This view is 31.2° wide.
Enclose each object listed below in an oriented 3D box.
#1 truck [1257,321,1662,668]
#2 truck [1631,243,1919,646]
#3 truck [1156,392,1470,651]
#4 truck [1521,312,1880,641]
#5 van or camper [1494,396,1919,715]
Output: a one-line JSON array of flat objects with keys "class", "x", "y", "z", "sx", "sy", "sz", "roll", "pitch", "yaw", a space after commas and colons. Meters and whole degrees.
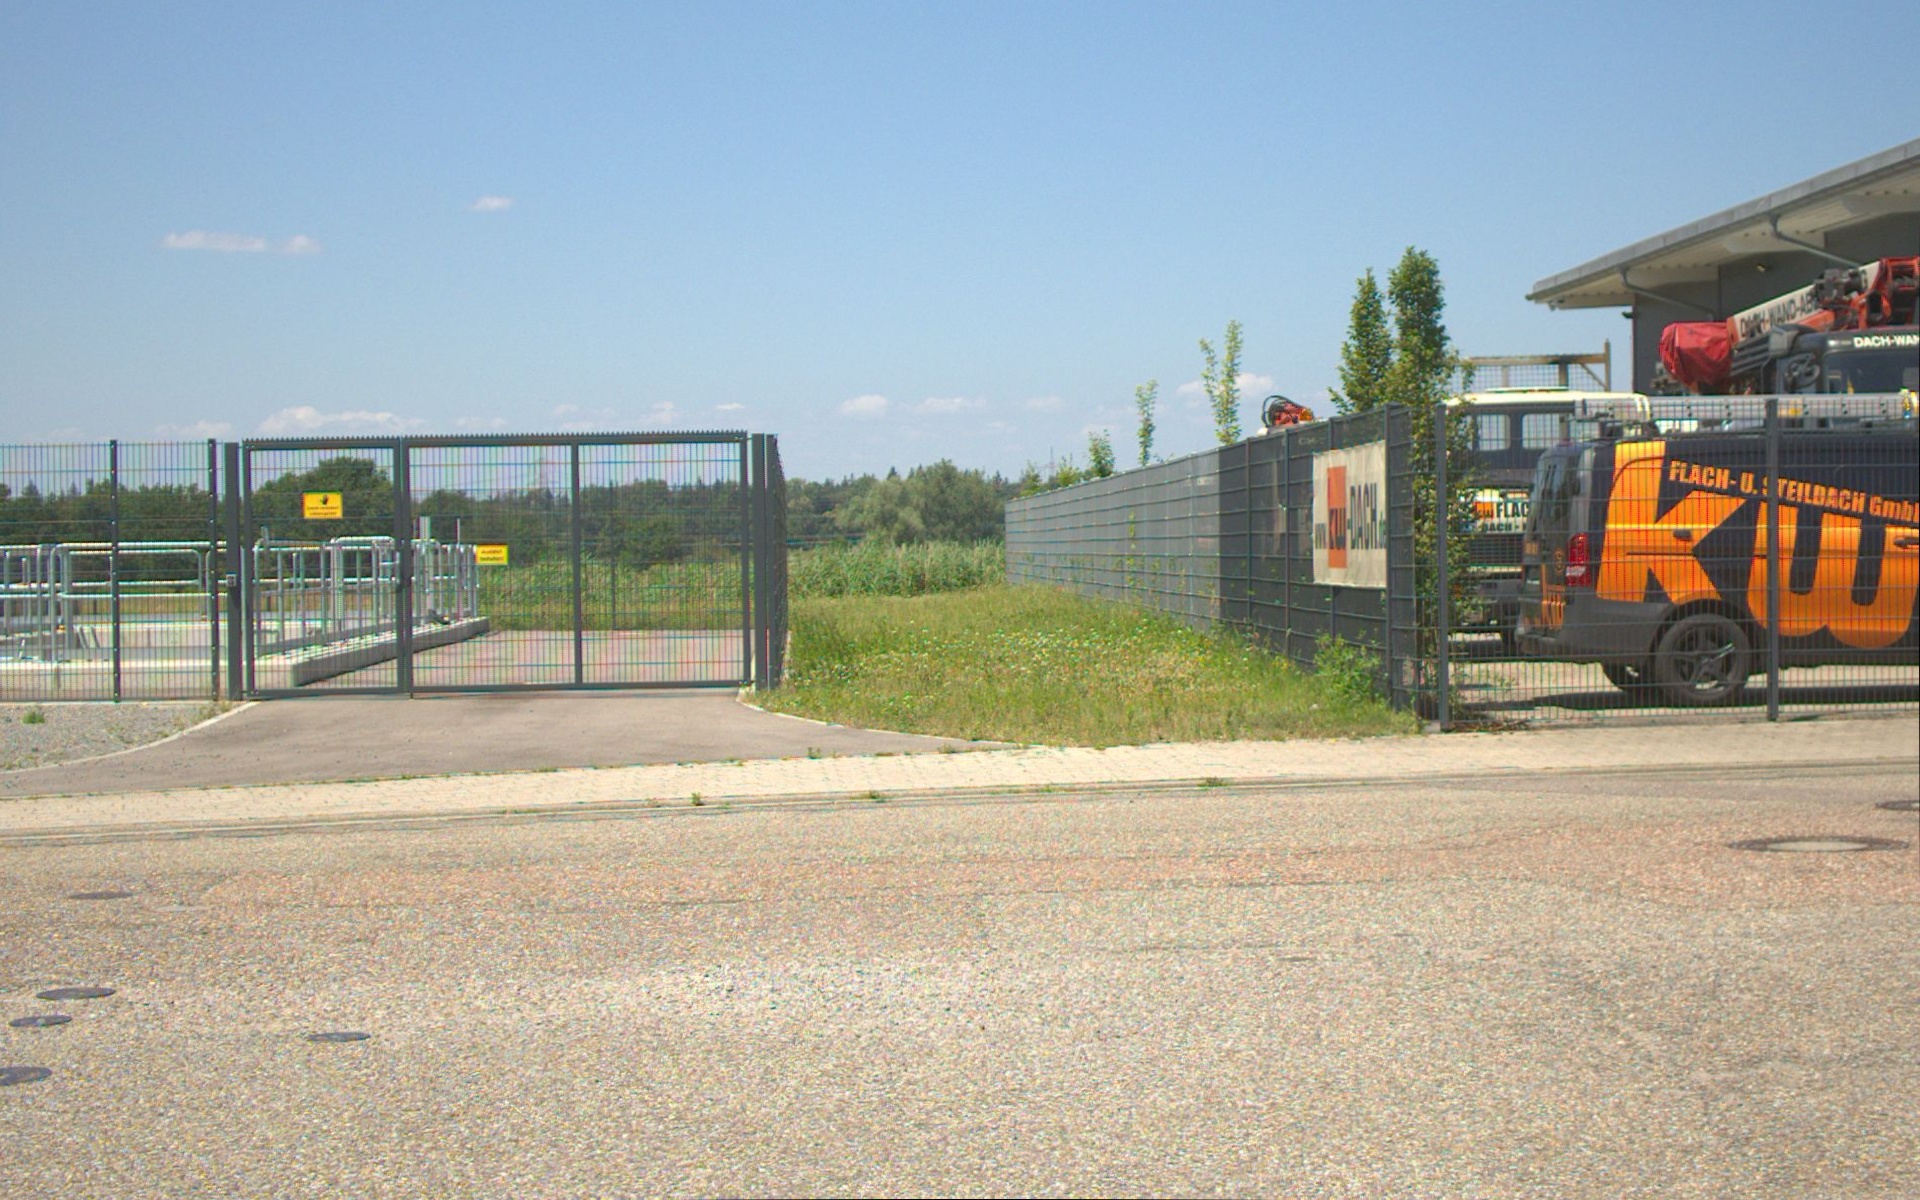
[{"class": "truck", "x": 4.749, "y": -0.995, "z": 34.037, "sx": 2.726, "sy": 3.051, "sz": 6.936, "roll": -1, "pitch": 1, "yaw": -2}, {"class": "truck", "x": 9.500, "y": -1.584, "z": 37.001, "sx": 2.921, "sy": 3.916, "sz": 6.936, "roll": -1, "pitch": 1, "yaw": -2}, {"class": "truck", "x": 4.253, "y": -0.954, "z": 42.914, "sx": 2.921, "sy": 2.928, "sz": 6.936, "roll": -1, "pitch": 1, "yaw": -2}, {"class": "truck", "x": 9.479, "y": -1.545, "z": 44.841, "sx": 2.921, "sy": 3.916, "sz": 6.936, "roll": -1, "pitch": 1, "yaw": -2}, {"class": "van or camper", "x": 6.495, "y": -0.360, "z": 24.725, "sx": 4.936, "sy": 2.156, "sz": 2.000, "roll": -1, "pitch": 2, "yaw": -2}]
